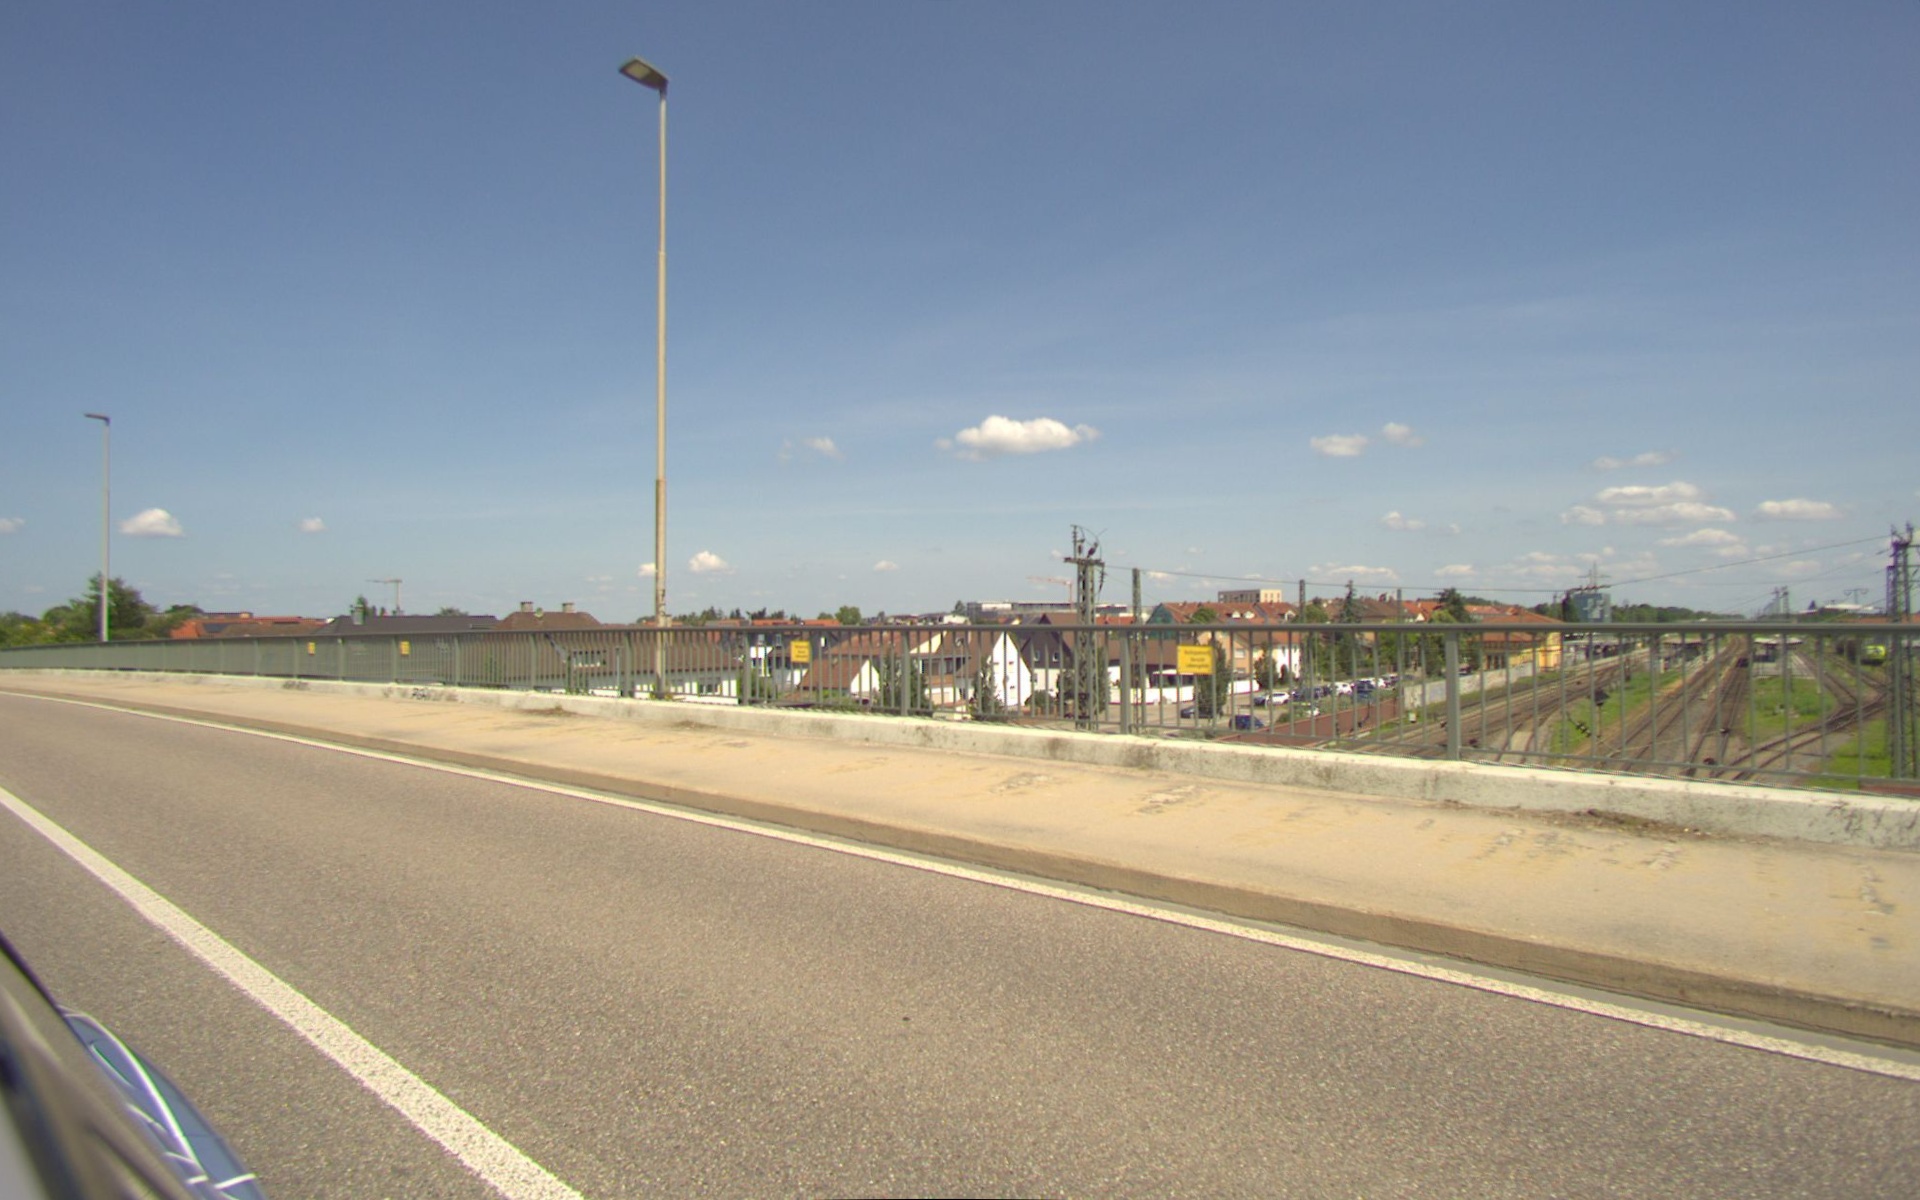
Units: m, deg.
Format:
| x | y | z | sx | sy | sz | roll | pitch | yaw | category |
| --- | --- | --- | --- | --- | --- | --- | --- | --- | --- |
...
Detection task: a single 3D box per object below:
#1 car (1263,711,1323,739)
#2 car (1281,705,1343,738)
| x | y | z | sx | sy | sz | roll | pitch | yaw | category |
| --- | --- | --- | --- | --- | --- | --- | --- | --- | --- |
| 28.483 | 10.681 | 86.643 | 2.172 | 1.612 | 4.632 | -5 | 3 | -28 | car |
| 30.939 | 10.680 | 89.165 | 1.968 | 2.027 | 4.867 | -8 | 5 | -33 | car |
